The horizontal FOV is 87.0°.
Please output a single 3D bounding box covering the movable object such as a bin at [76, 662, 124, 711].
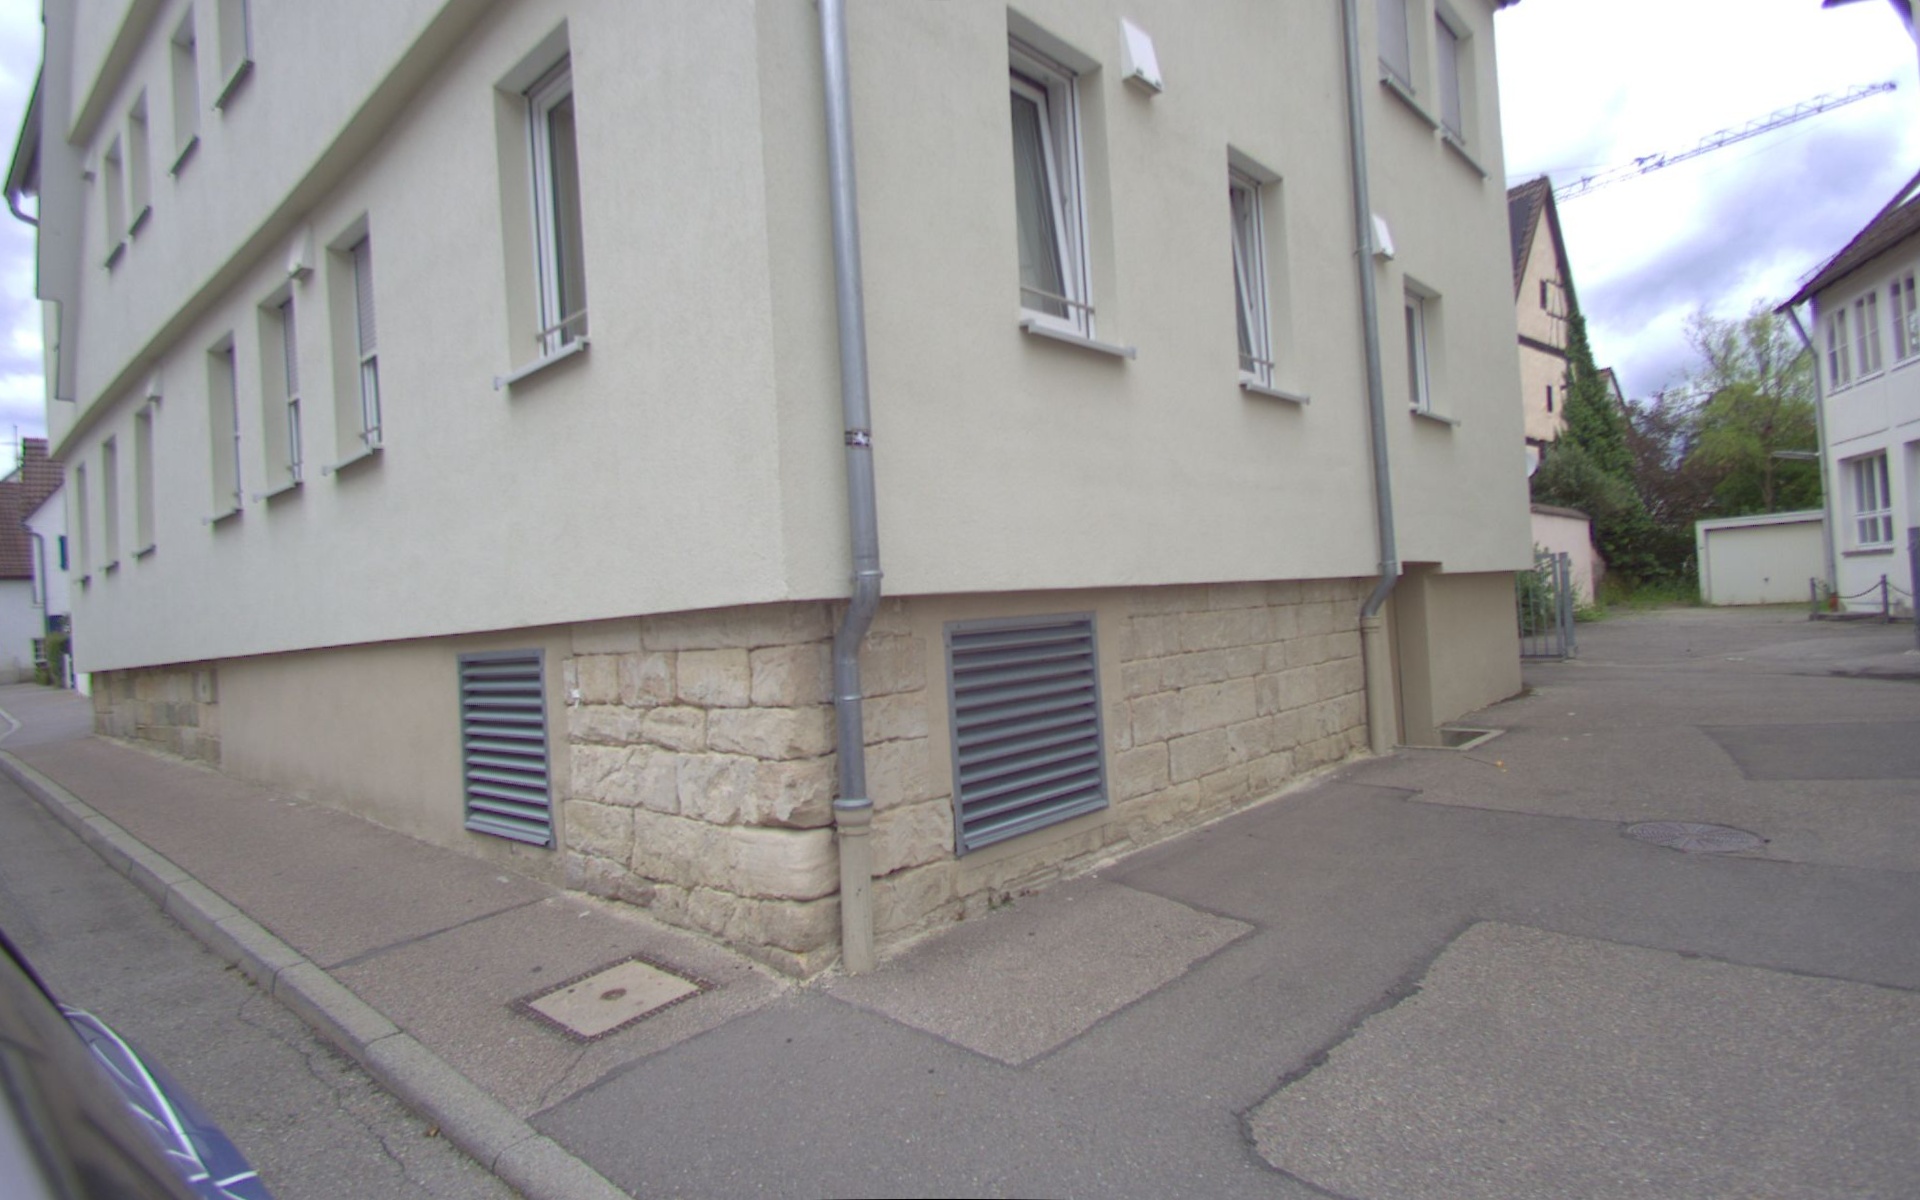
[{"bbox_3d":[-20.041,1.998,23.589,0.631,1.039,0.797,-6,0,-29],"label":"movable object such as a bin"}]
